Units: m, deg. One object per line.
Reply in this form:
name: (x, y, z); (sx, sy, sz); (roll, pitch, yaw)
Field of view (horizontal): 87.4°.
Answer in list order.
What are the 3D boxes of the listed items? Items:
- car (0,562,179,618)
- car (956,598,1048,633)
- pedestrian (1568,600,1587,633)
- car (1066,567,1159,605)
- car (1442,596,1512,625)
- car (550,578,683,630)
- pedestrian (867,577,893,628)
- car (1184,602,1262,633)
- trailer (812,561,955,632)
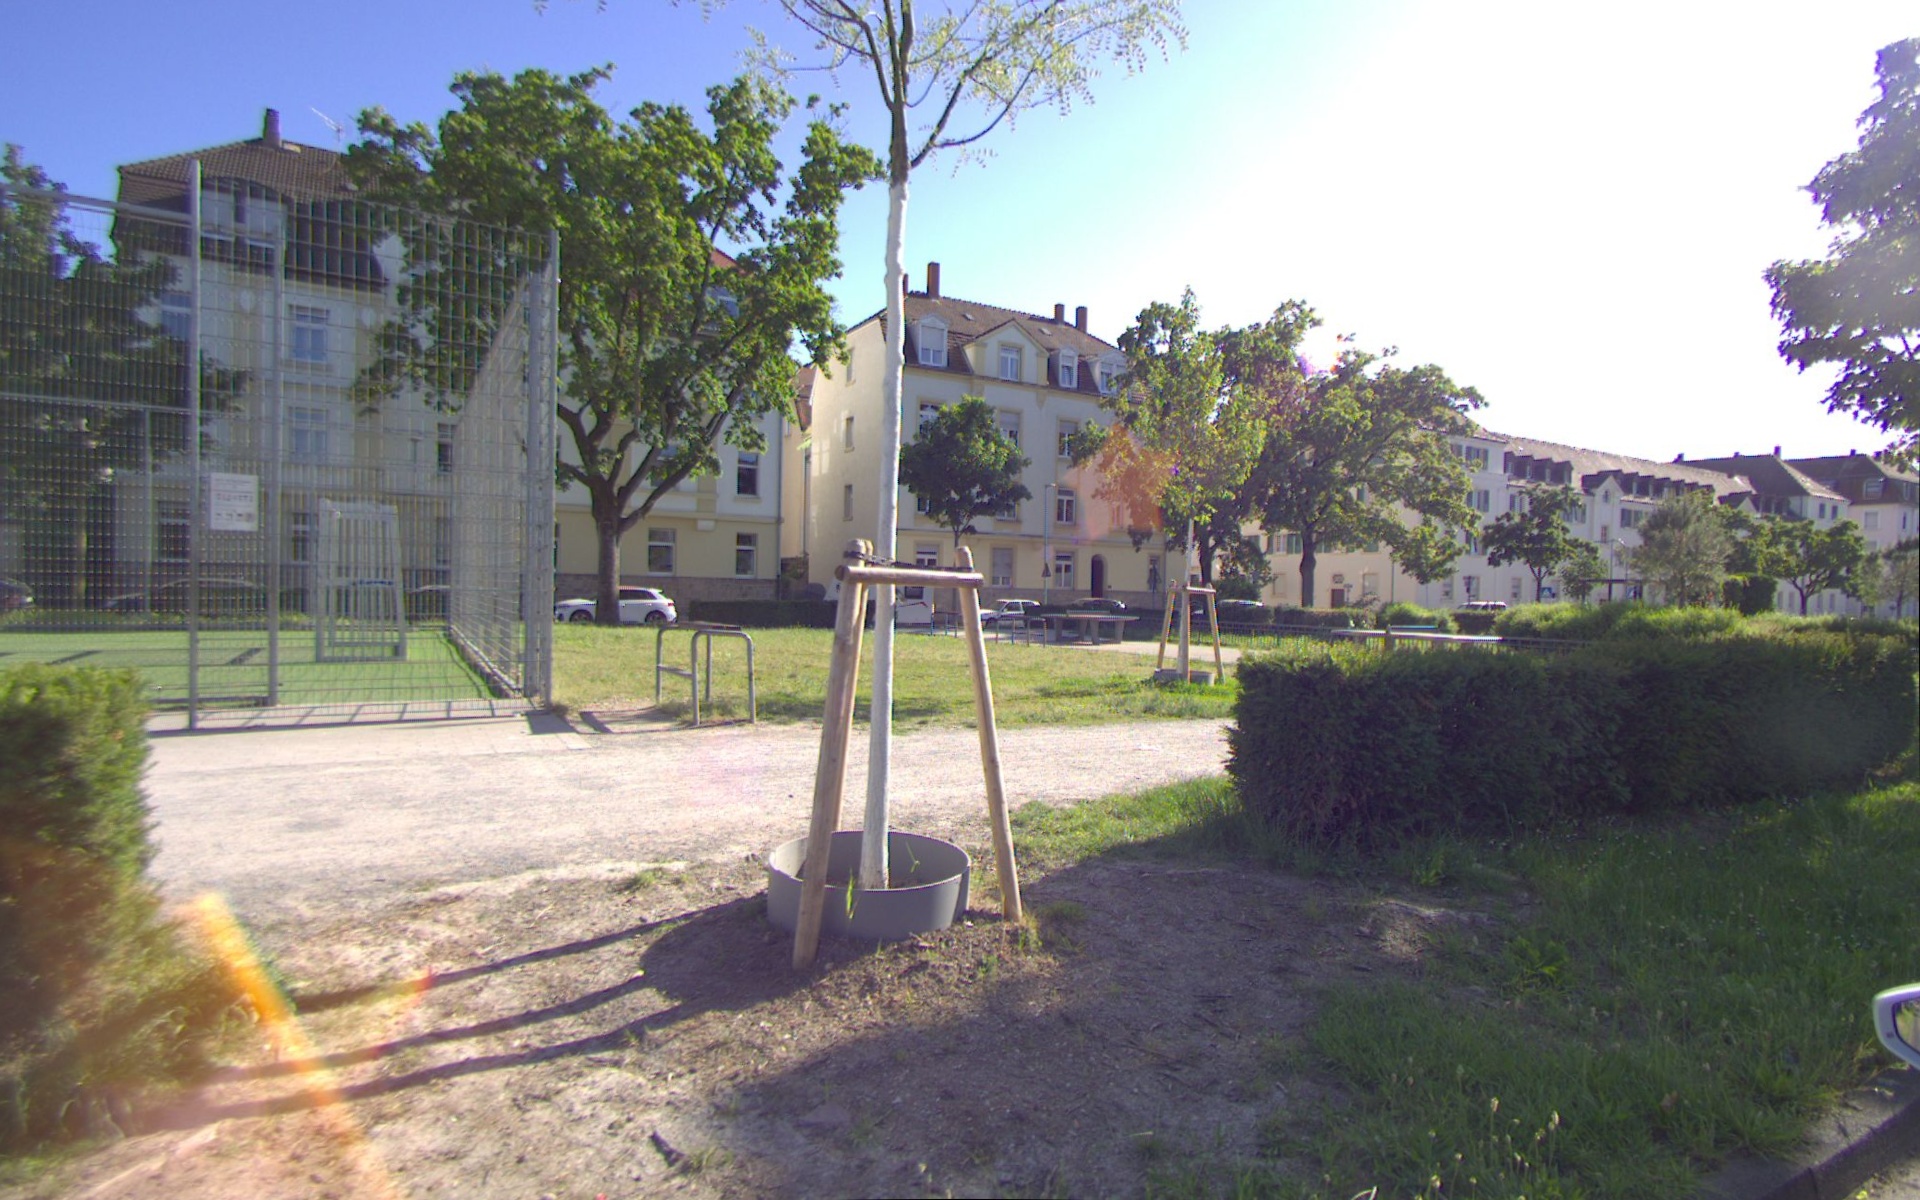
car: (-25.756, -0.284, 29.525); (4.182, 1.530, 1.785); (1, 1, -30)
car: (1.969, 0.709, 46.820); (3.953, 1.530, 1.785); (1, 1, -30)
pedestrian: (33.250, 0.879, 54.081); (0.642, 1.721, 0.645); (1, 0, -30)
car: (7.643, -0.690, 50.276); (4.445, 1.755, 1.785); (1, 1, -30)
car: (31.842, 0.660, 61.850); (3.946, 1.674, 1.788); (1, 1, -26)
car: (-12.773, 0.154, 37.416); (4.436, 1.801, 1.785); (1, 1, -30)
pedestrian: (-2.694, 0.090, 33.666); (0.642, 1.683, 0.645); (1, 0, -30)
car: (14.170, 0.957, 54.064); (3.953, 1.530, 1.785); (1, 1, -30)
trailer: (-3.305, -0.137, 43.614); (5.736, 2.909, 2.331); (1, 1, -31)
